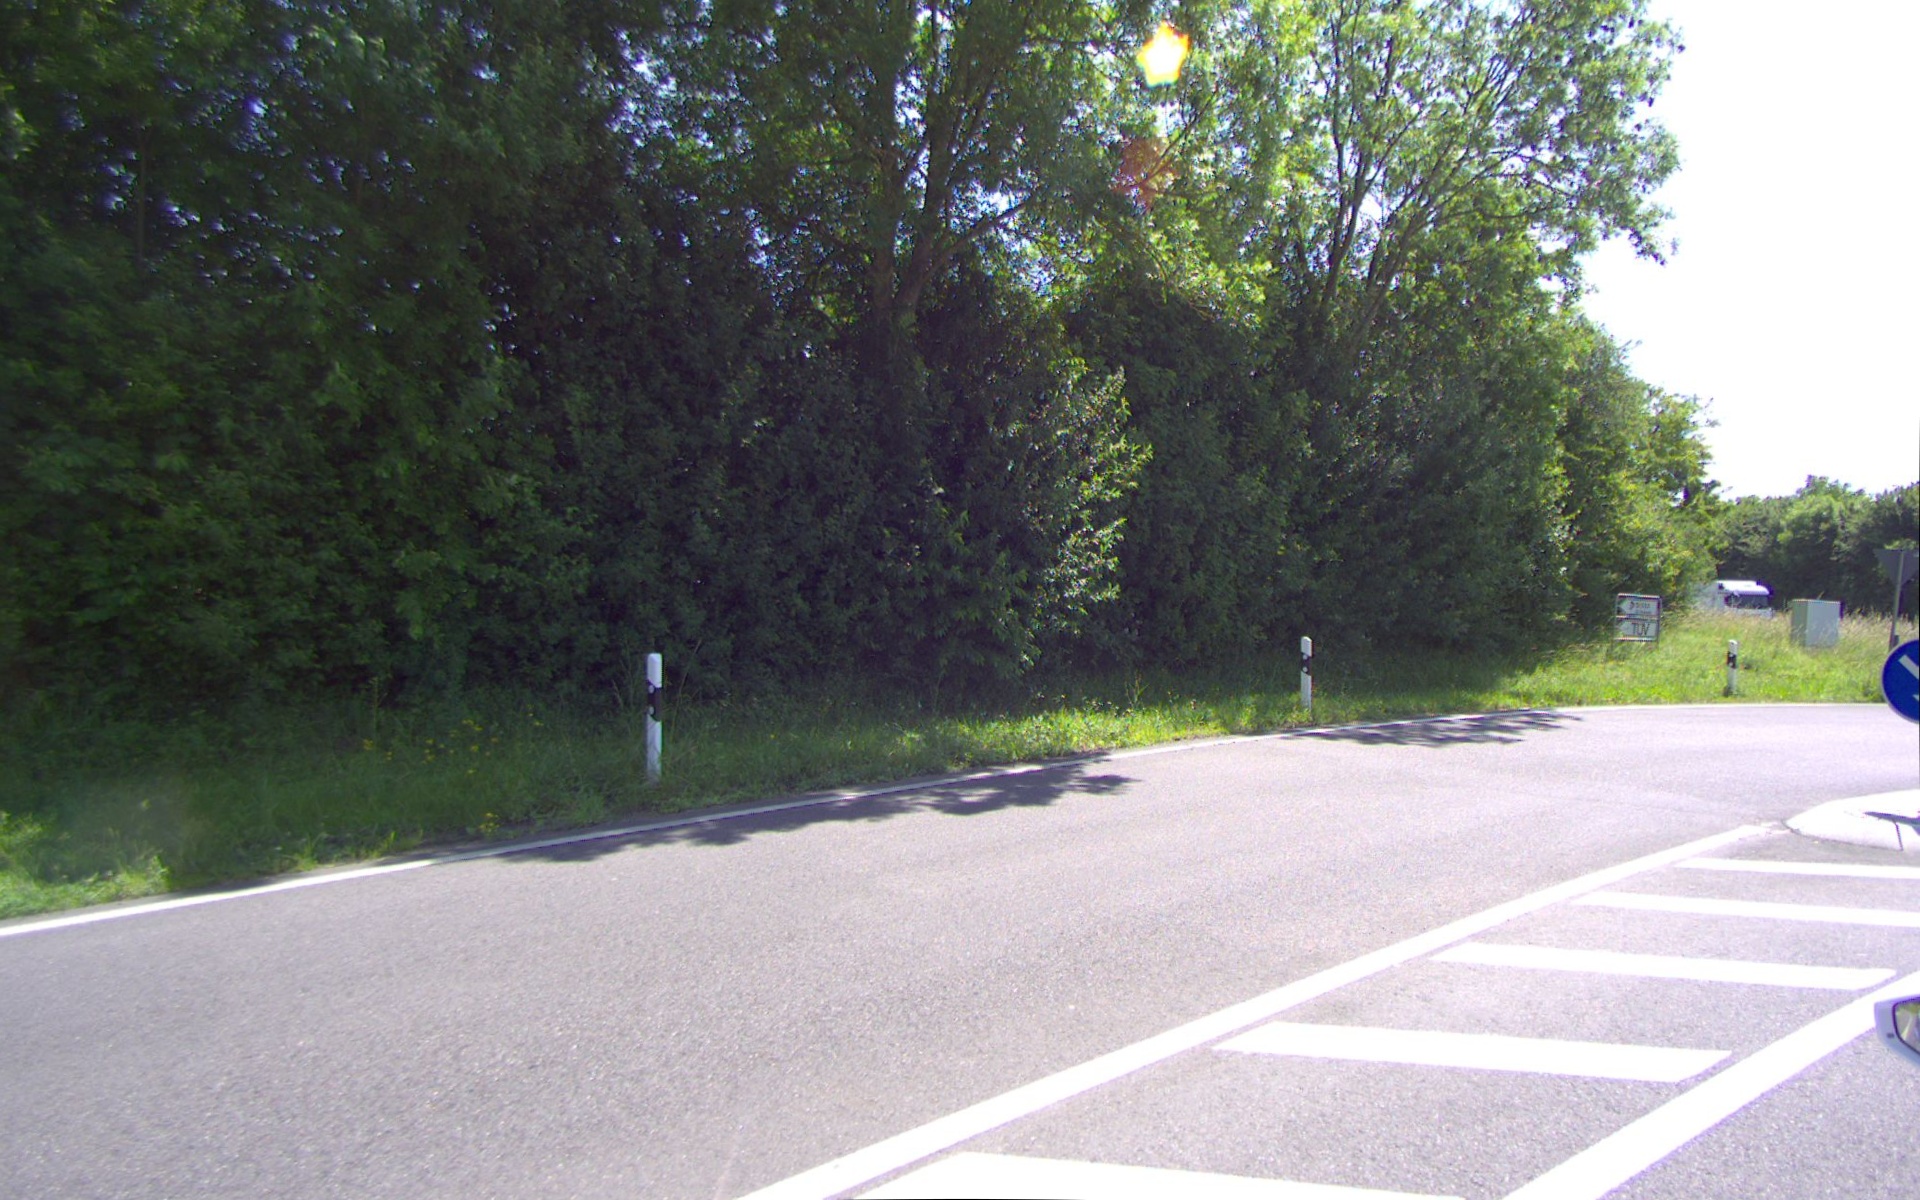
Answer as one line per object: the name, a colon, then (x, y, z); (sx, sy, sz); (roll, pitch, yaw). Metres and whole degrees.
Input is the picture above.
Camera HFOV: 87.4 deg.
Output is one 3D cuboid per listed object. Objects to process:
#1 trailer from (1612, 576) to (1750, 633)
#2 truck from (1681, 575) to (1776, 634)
trailer: (56.537, 0.275, 79.413); (2.607, 4.090, 13.845); (1, 0, 8)
truck: (55.632, 0.297, 72.923); (2.607, 4.090, 6.284); (1, 0, 8)
